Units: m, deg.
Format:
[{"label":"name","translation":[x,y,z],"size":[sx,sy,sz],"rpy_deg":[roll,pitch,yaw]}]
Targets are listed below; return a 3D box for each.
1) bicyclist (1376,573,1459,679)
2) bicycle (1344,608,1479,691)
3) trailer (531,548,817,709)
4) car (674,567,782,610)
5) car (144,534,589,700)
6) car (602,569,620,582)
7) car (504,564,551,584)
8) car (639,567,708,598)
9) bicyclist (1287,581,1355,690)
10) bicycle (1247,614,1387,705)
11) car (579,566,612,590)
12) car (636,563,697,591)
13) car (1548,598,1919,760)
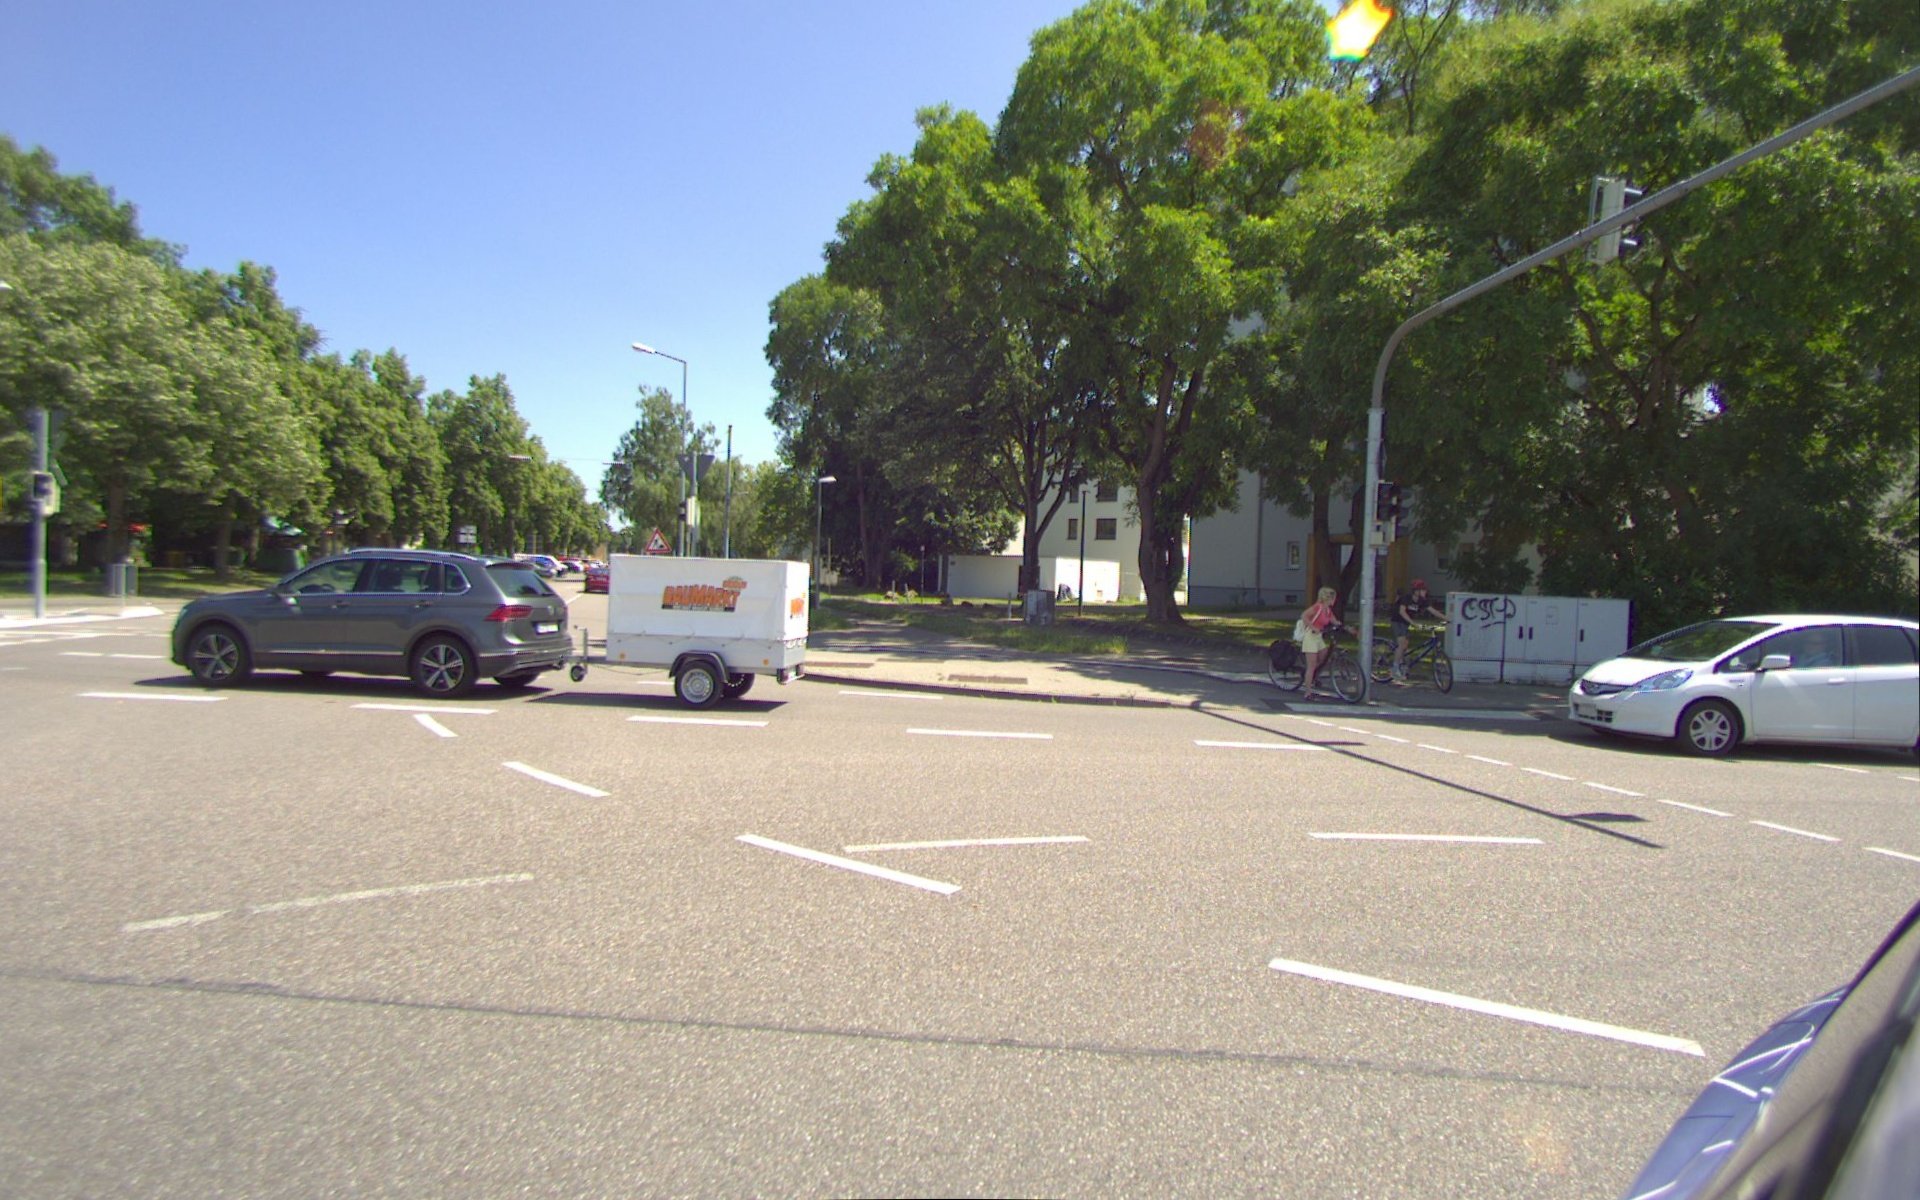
[{"label":"bicyclist","translation":[7.176,0.385,15.881],"size":[0.636,1.562,0.909],"rpy_deg":[-1,5,-41]},{"label":"bicycle","translation":[7.091,0.748,15.972],"size":[0.605,1.075,1.804],"rpy_deg":[-1,5,-41]},{"label":"trailer","translation":[-3.258,0.301,11.820],"size":[2.884,1.675,1.408],"rpy_deg":[2,0,3]},{"label":"car","translation":[-8.012,-0.377,34.859],"size":[3.419,1.446,1.587],"rpy_deg":[0,0,-22]},{"label":"car","translation":[-6.902,0.169,12.043],"size":[4.328,1.679,1.730],"rpy_deg":[2,0,3]},{"label":"car","translation":[-35.171,-2.496,102.081],"size":[1.551,1.242,3.499],"rpy_deg":[0,0,-16]},{"label":"car","translation":[-35.345,-2.112,82.735],"size":[3.418,1.495,1.588],"rpy_deg":[0,0,-19]},{"label":"car","translation":[-15.083,-0.903,53.261],"size":[3.418,1.574,1.588],"rpy_deg":[0,0,-19]},{"label":"bicyclist","translation":[5.186,0.495,14.556],"size":[0.605,1.485,0.628],"rpy_deg":[-1,4,-41]},{"label":"bicycle","translation":[5.121,0.821,14.624],"size":[0.605,1.075,1.804],"rpy_deg":[-1,5,-41]},{"label":"car","translation":[-20.557,-1.201,57.194],"size":[1.551,1.243,3.499],"rpy_deg":[1,0,-16]},{"label":"car","translation":[-17.571,-1.334,60.544],"size":[3.418,1.599,1.588],"rpy_deg":[0,0,-19]},{"label":"car","translation":[8.916,0.816,11.100],"size":[3.826,1.524,1.731],"rpy_deg":[2,0,2]}]
